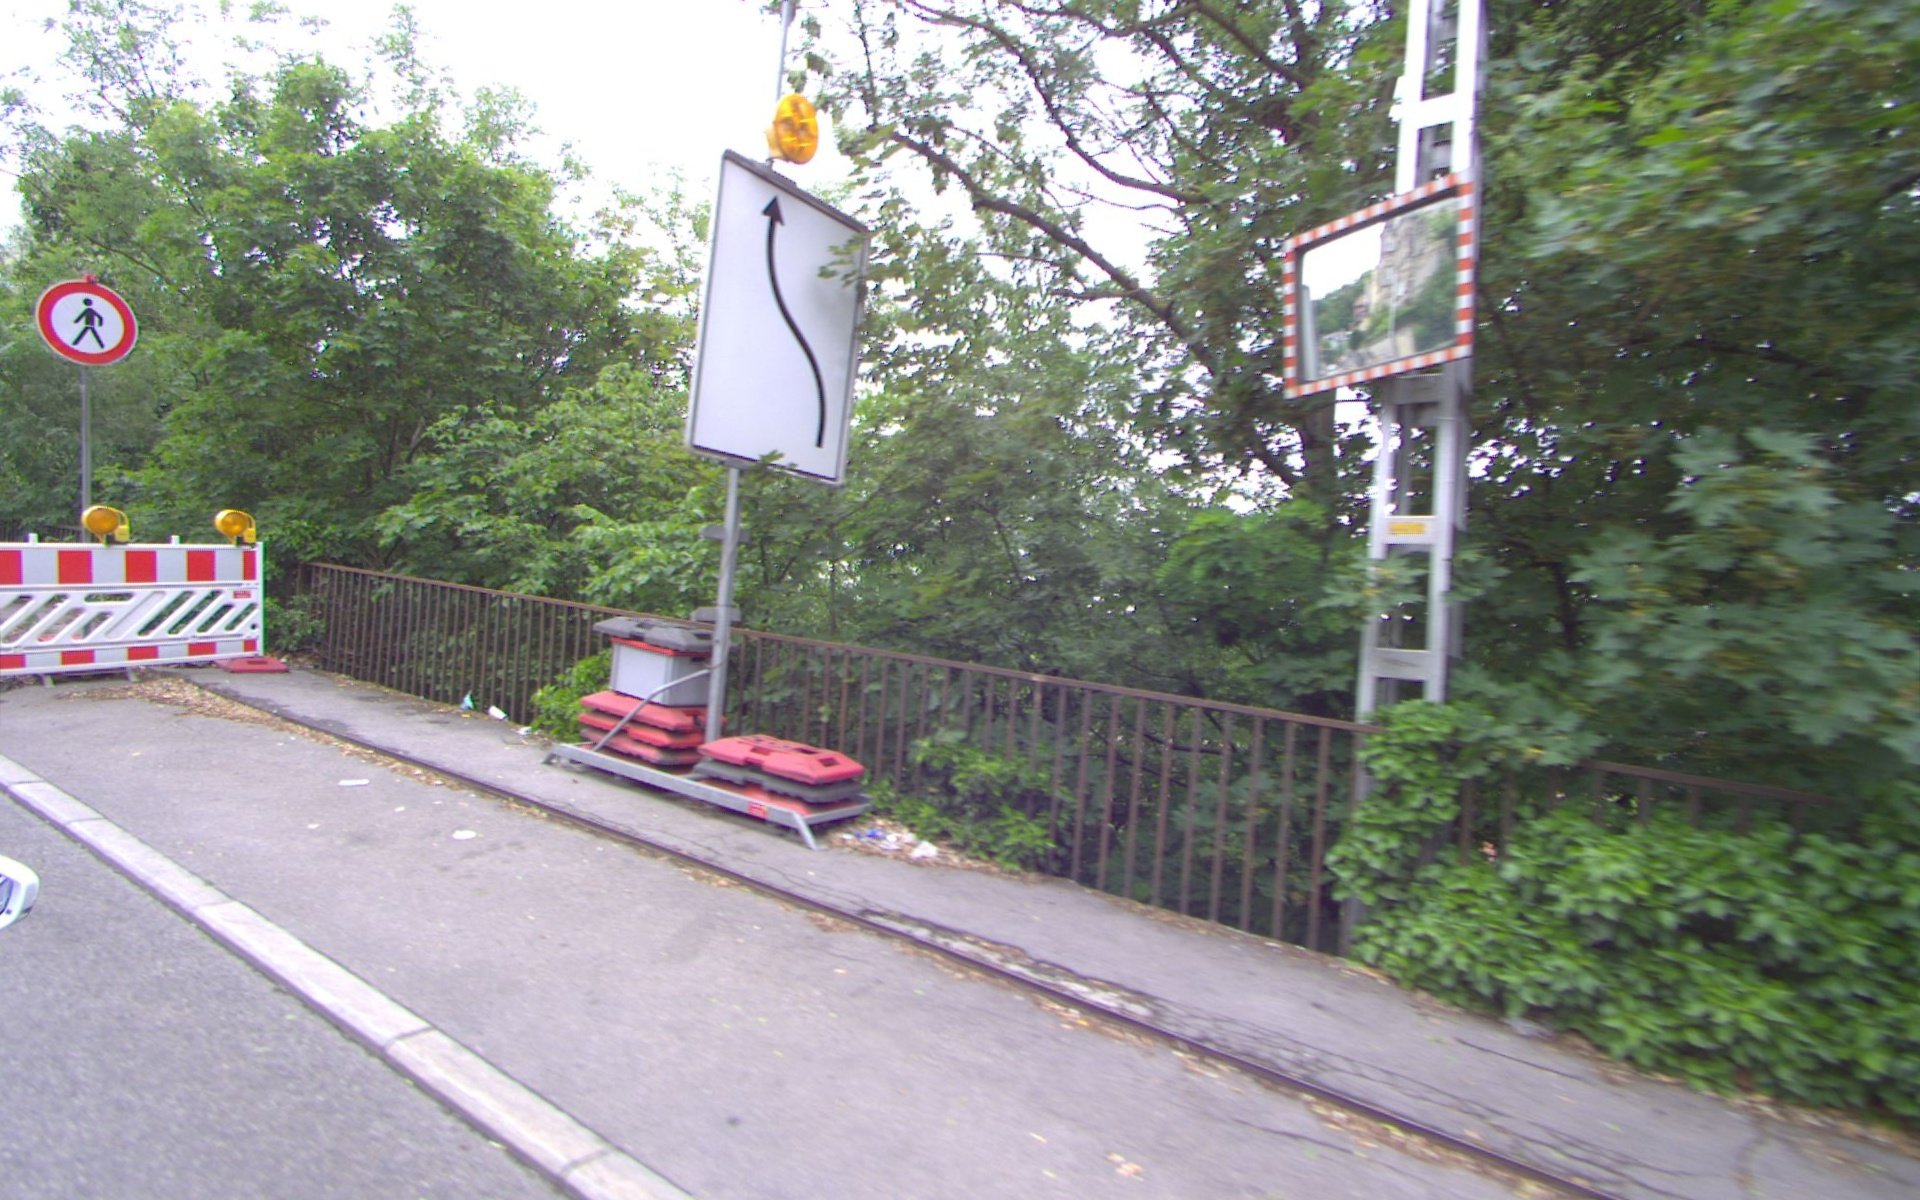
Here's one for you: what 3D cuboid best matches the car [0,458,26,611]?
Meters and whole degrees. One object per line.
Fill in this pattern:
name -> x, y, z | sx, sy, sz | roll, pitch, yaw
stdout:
car -> -12.972, -0.939, 11.518 | 4.564, 1.698, 1.862 | 6, 4, 26
